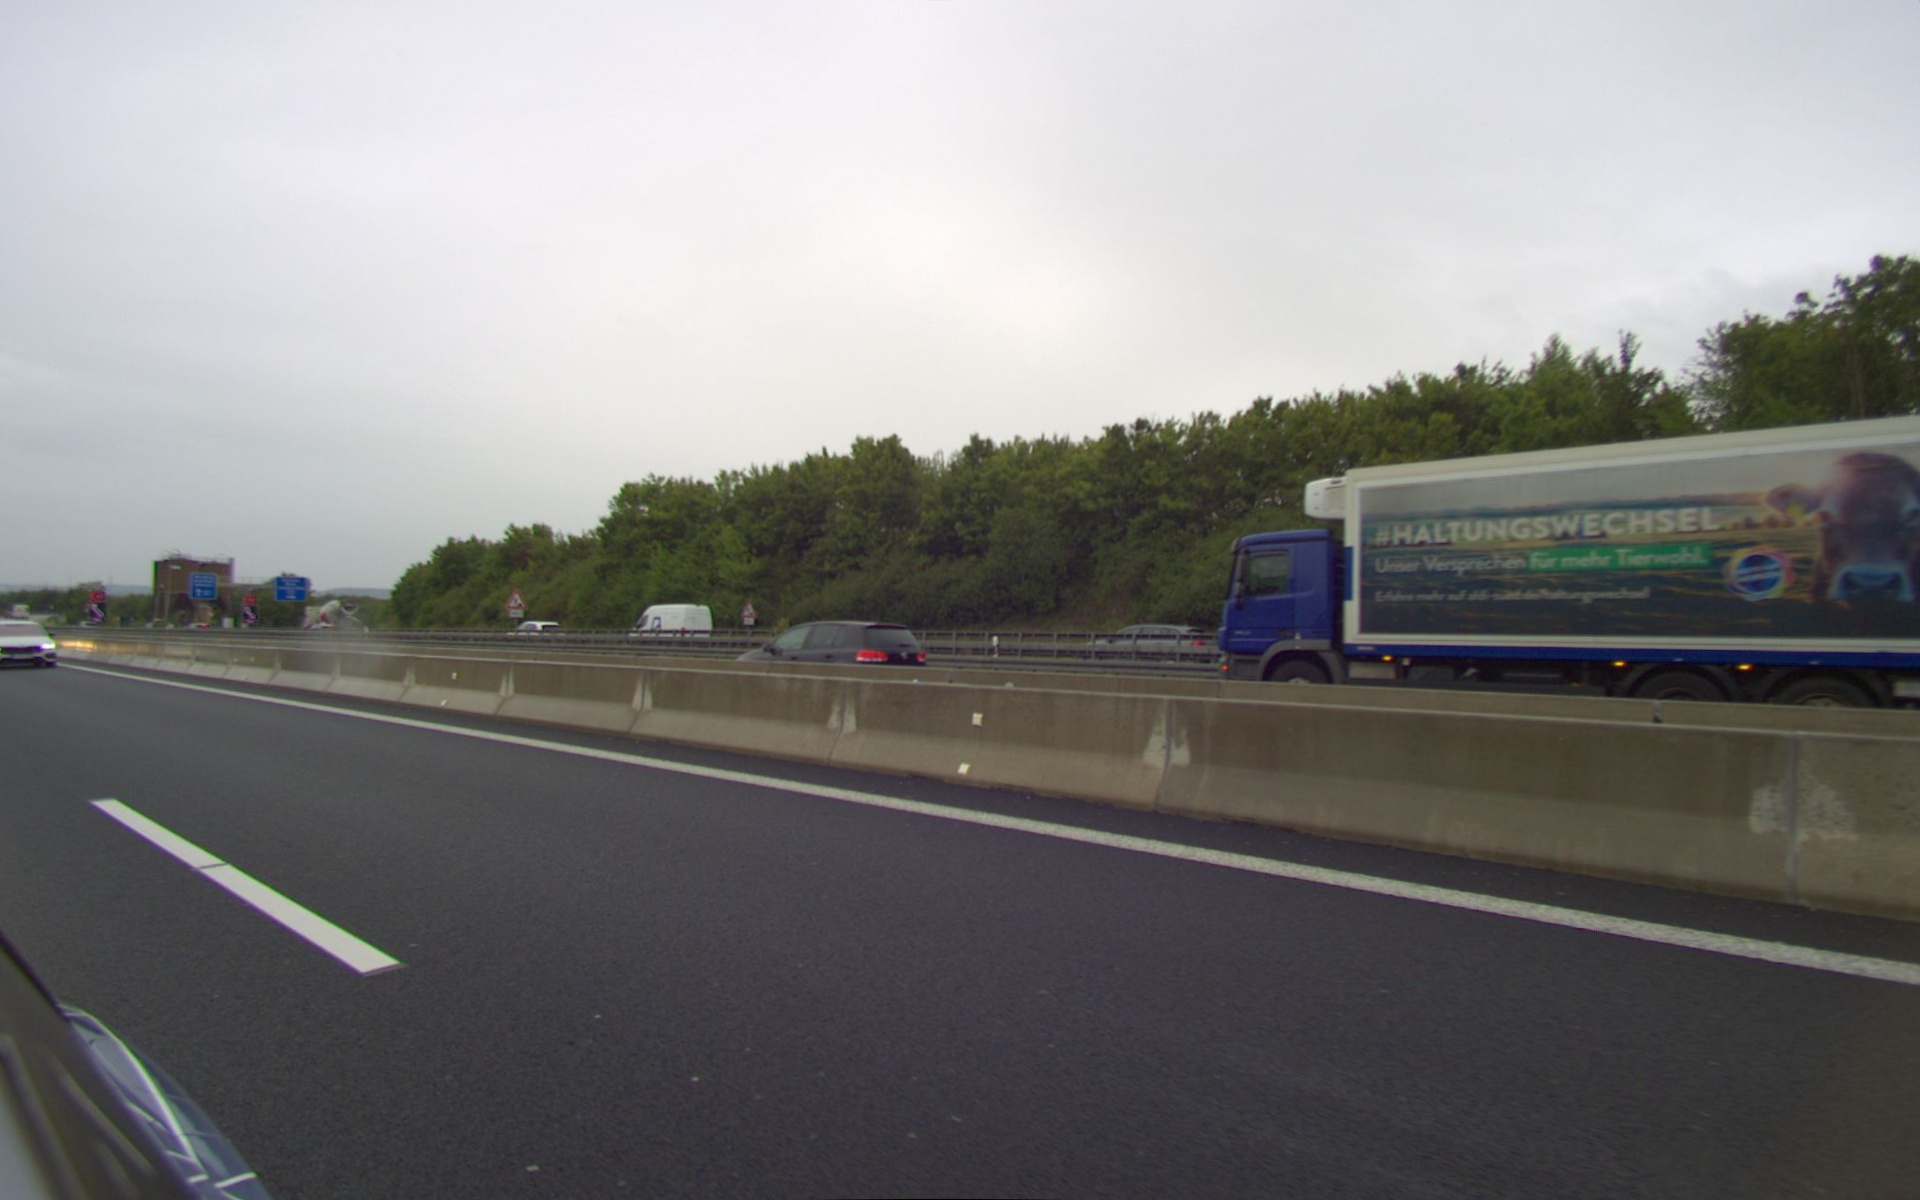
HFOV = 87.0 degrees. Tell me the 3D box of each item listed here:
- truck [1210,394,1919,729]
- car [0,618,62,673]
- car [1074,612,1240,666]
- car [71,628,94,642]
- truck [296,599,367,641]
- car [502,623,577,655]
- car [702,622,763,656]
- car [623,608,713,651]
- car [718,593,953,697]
[{"bbox_3d":[8.919,-0.387,13.743,10.636,3.551,2.779,-1,0,41],"label":"truck"},{"bbox_3d":[-29.639,1.386,31.480,4.814,1.603,1.973,-1,-2,41],"label":"car"},{"bbox_3d":[6.045,1.172,31.394,4.684,1.549,1.974,-1,-2,40],"label":"car"},{"bbox_3d":[-130.998,5.241,151.053,4.711,2.029,1.973,-1,-1,40],"label":"car"},{"bbox_3d":[-57.215,1.848,92.071,9.551,3.689,2.658,-1,-2,40],"label":"truck"},{"bbox_3d":[-23.656,2.170,56.866,4.579,1.750,1.973,-1,-2,40],"label":"car"},{"bbox_3d":[-14.167,2.386,62.882,3.999,2.029,1.731,-1,-2,42],"label":"car"},{"bbox_3d":[-16.062,1.591,55.549,5.712,2.230,1.973,-1,-2,41],"label":"car"},{"bbox_3d":[-2.285,0.735,18.038,3.998,1.630,1.973,-1,0,41],"label":"car"}]
